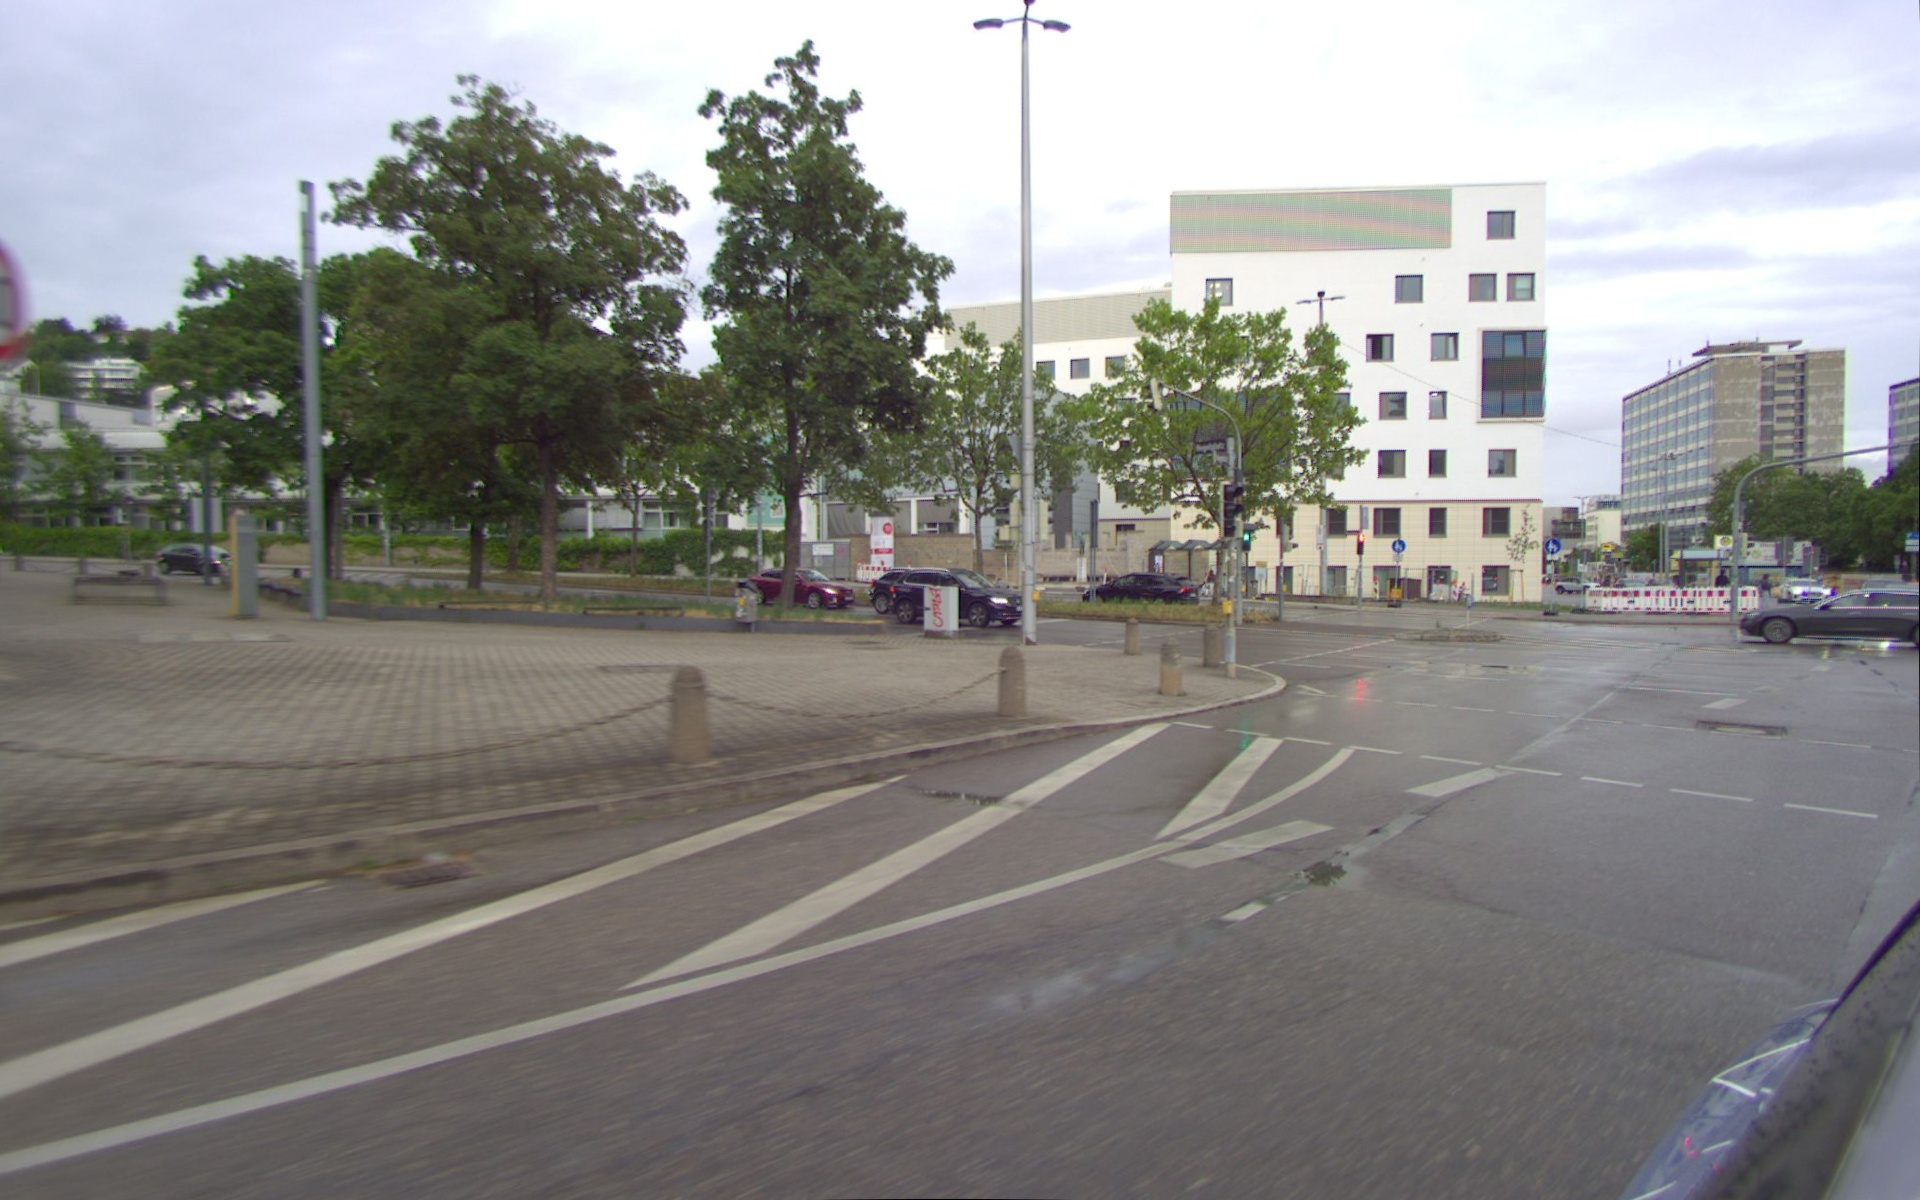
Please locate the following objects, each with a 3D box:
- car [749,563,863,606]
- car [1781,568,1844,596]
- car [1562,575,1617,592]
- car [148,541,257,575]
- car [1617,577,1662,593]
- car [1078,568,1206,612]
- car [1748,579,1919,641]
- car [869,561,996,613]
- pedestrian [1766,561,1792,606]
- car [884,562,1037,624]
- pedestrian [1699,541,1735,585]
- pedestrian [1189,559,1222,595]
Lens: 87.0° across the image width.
[{"bbox_3d":[-5.701,-0.610,37.317,3.967,1.459,1.776,2,3,31],"label":"car"},{"bbox_3d":[55.313,-1.136,65.724,1.945,1.722,4.126,2,1,23],"label":"car"},{"bbox_3d":[60.489,-1.609,97.337,1.928,1.577,4.067,1,1,-32],"label":"car"},{"bbox_3d":[-34.868,-1.944,46.653,3.933,1.459,1.791,1,2,9],"label":"car"},{"bbox_3d":[64.715,-1.438,96.442,1.969,1.395,4.374,1,2,11],"label":"car"},{"bbox_3d":[6.856,-0.418,38.258,4.484,1.484,1.655,3,3,35],"label":"car"},{"bbox_3d":[23.359,0.229,25.901,4.911,1.463,1.857,2,2,42],"label":"car"},{"bbox_3d":[-0.928,-0.475,34.093,3.967,1.604,1.776,2,3,31],"label":"car"},{"bbox_3d":[34.449,-0.706,42.554,0.820,1.863,0.940,0,0,41],"label":"pedestrian"},{"bbox_3d":[-0.030,-0.266,29.881,4.249,1.583,1.851,3,4,35],"label":"car"},{"bbox_3d":[33.907,-1.638,45.315,0.985,1.960,0.955,1,0,-29],"label":"pedestrian"},{"bbox_3d":[12.068,-1.134,49.694,1.239,1.741,1.015,1,0,-40],"label":"pedestrian"}]
